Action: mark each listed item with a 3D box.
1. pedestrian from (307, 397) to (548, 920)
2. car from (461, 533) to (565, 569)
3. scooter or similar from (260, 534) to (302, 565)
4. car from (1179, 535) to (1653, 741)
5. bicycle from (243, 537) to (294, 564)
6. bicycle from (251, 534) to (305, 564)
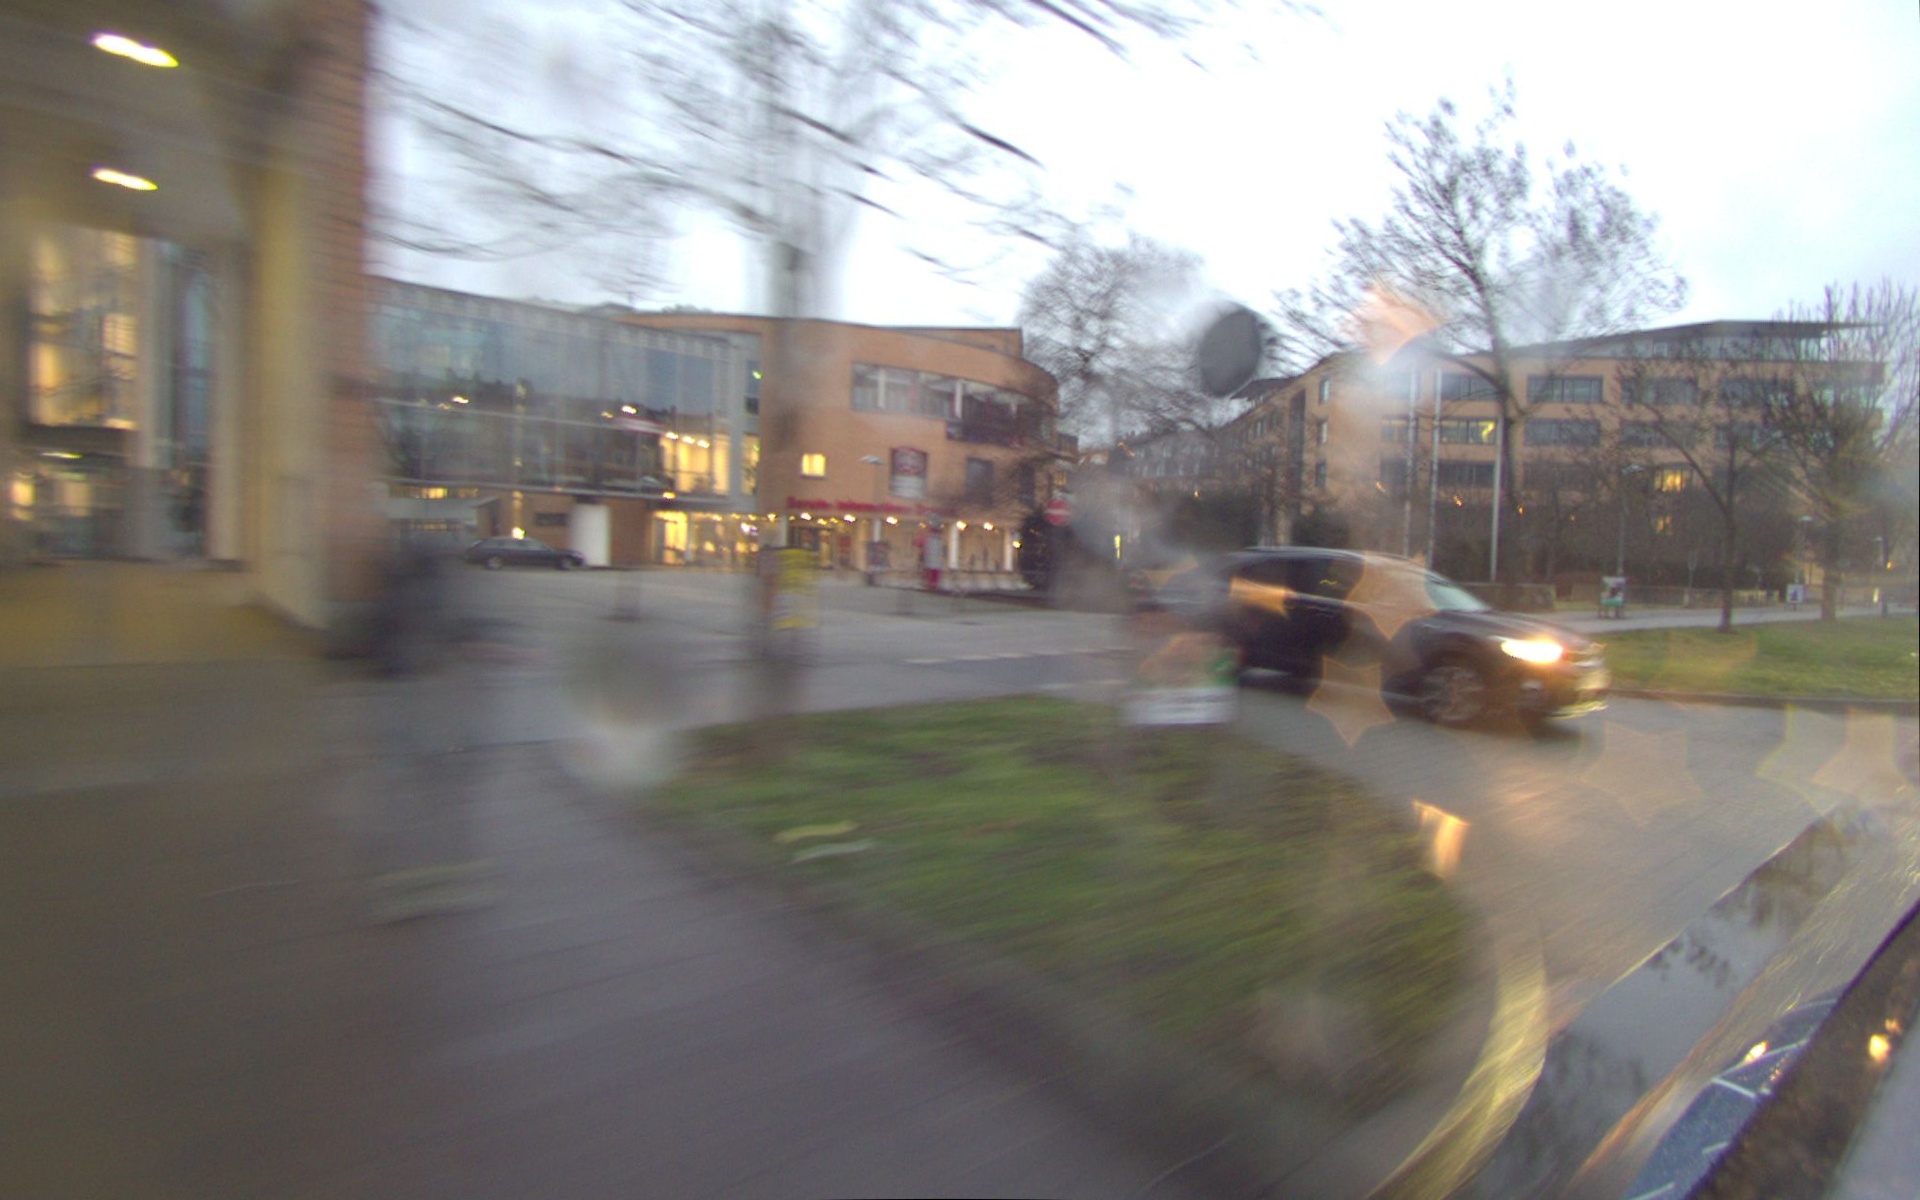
[{"bbox_3d":[-2.069,0.191,3.965,0.500,1.846,0.653,3,3,23],"label":"pedestrian"},{"bbox_3d":[-19.610,-2.137,44.407,3.922,1.415,2.002,0,3,-32],"label":"car"},{"bbox_3d":[-24.462,-1.810,36.484,0.392,1.088,1.199,0,1,43],"label":"scooter or similar"},{"bbox_3d":[4.386,0.202,10.284,1.711,1.574,3.998,0,4,-39],"label":"car"},{"bbox_3d":[-27.945,-1.988,40.912,1.674,1.088,0.492,-1,1,-42],"label":"bicycle"},{"bbox_3d":[-26.346,-1.959,39.091,1.674,1.088,0.492,-1,1,-42],"label":"bicycle"}]
